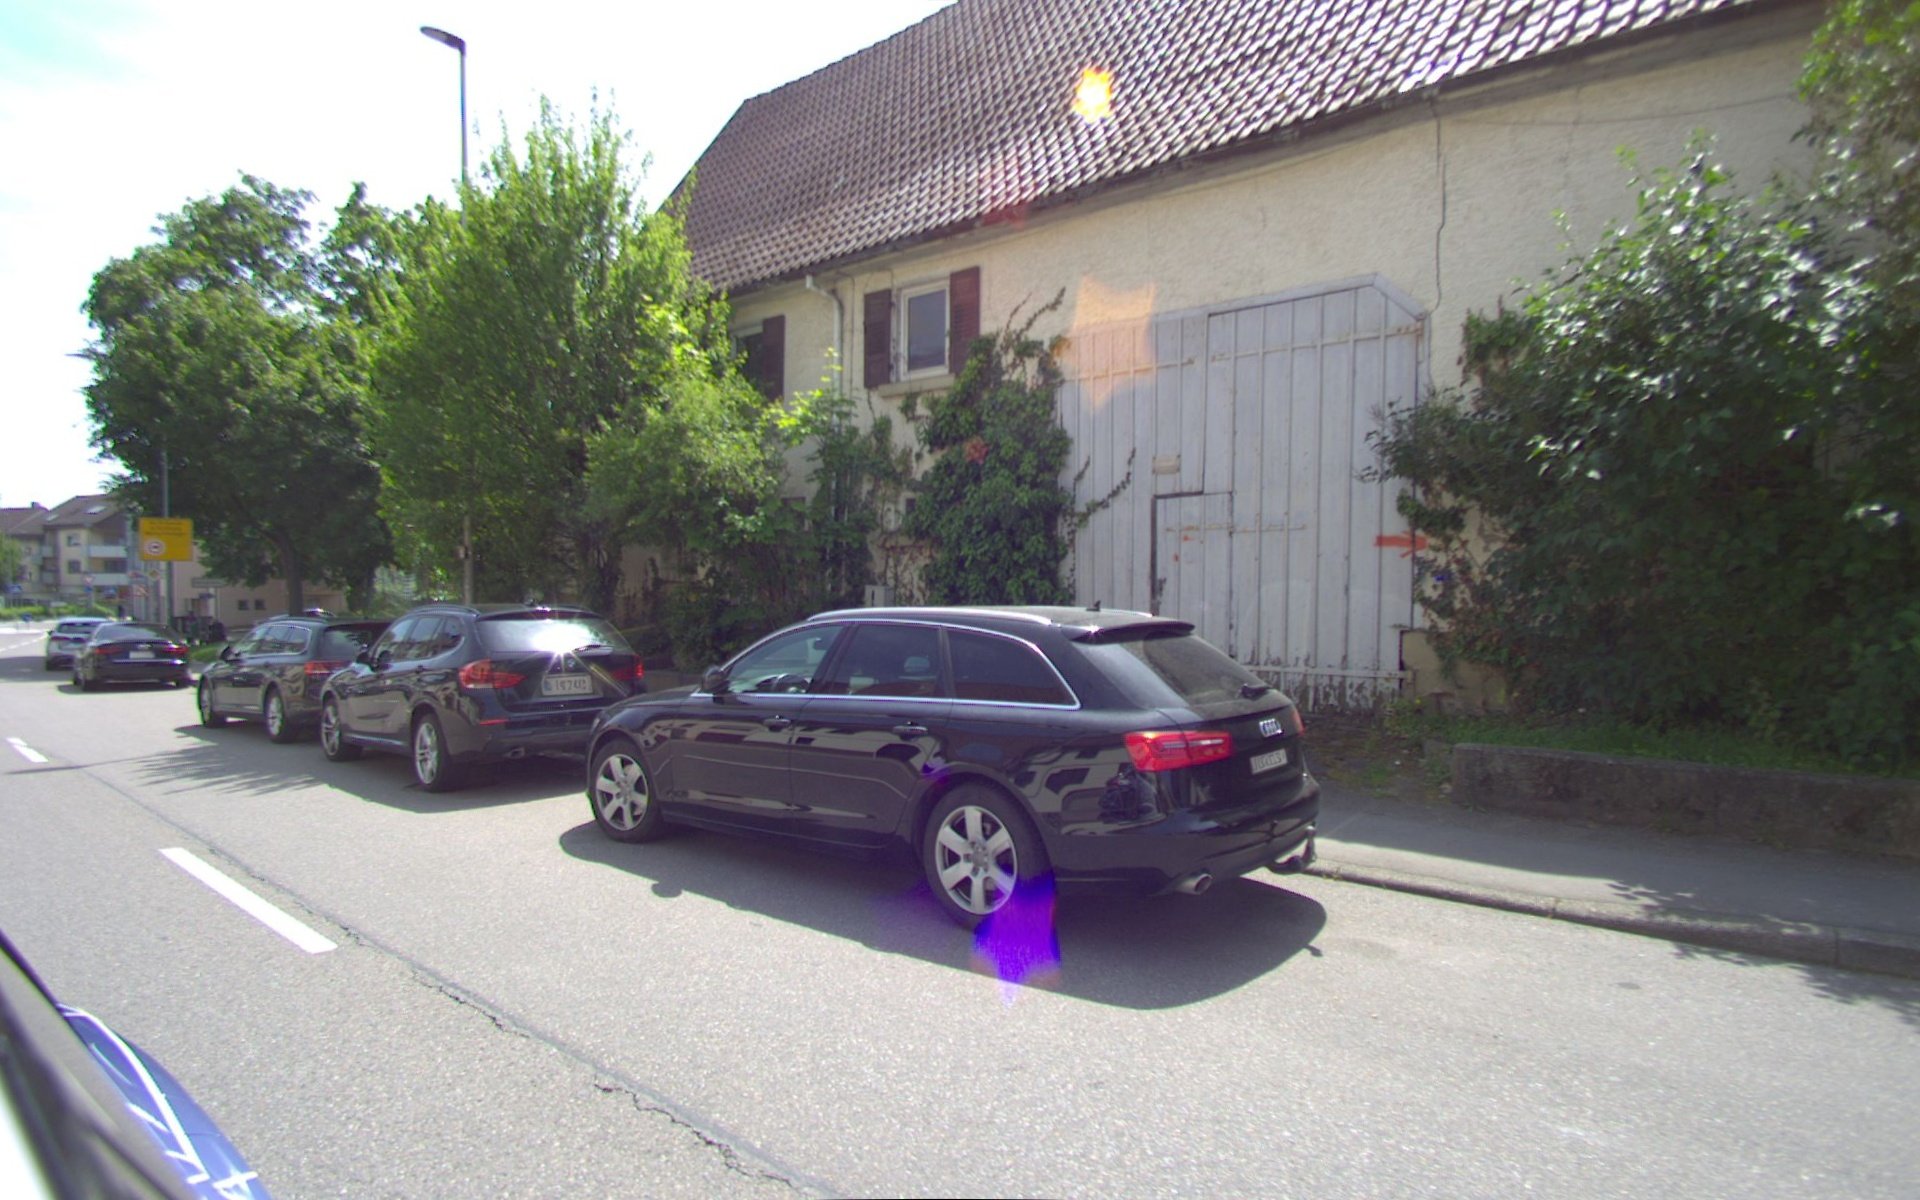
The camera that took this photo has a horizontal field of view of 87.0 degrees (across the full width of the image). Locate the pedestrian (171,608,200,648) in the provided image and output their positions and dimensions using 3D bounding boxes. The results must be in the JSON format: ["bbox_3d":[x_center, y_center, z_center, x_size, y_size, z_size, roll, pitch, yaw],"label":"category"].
[{"bbox_3d":[-31.968,1.141,41.794,0.626,1.628,0.725,-1,1,29],"label":"pedestrian"}]

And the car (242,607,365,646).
[{"bbox_3d":[-32.821,1.284,50.736,1.992,1.490,4.744,-1,3,30],"label":"car"}]

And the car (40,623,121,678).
[{"bbox_3d":[-26.862,1.495,30.971,1.750,1.539,4.228,2,-2,-40],"label":"car"}]

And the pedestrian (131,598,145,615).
[{"bbox_3d":[-72.039,0.546,88.697,0.957,1.489,0.791,0,1,44],"label":"pedestrian"}]

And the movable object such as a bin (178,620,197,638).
[{"bbox_3d":[-45.017,1.683,58.982,0.790,1.008,0.806,-3,2,-39],"label":"movable object such as a bin"}]

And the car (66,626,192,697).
[{"bbox_3d":[-18.854,1.318,22.871,1.783,1.434,4.931,1,-2,-44],"label":"car"}]

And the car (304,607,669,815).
[{"bbox_3d":[-4.676,0.879,9.650,4.301,1.532,1.735,-2,-1,44],"label":"car"}]

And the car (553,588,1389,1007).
[{"bbox_3d":[-0.291,0.755,5.836,4.771,1.484,1.801,-2,-1,40],"label":"car"}]

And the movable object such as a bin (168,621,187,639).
[{"bbox_3d":[-45.260,1.725,58.508,0.840,1.008,0.695,-1,1,-39],"label":"movable object such as a bin"}]

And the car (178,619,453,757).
[{"bbox_3d":[-8.494,0.996,13.160,4.710,1.474,1.770,-1,-1,41],"label":"car"}]

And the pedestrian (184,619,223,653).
[{"bbox_3d":[-30.567,1.455,40.904,1.220,1.278,0.648,-3,1,-38],"label":"pedestrian"}]
